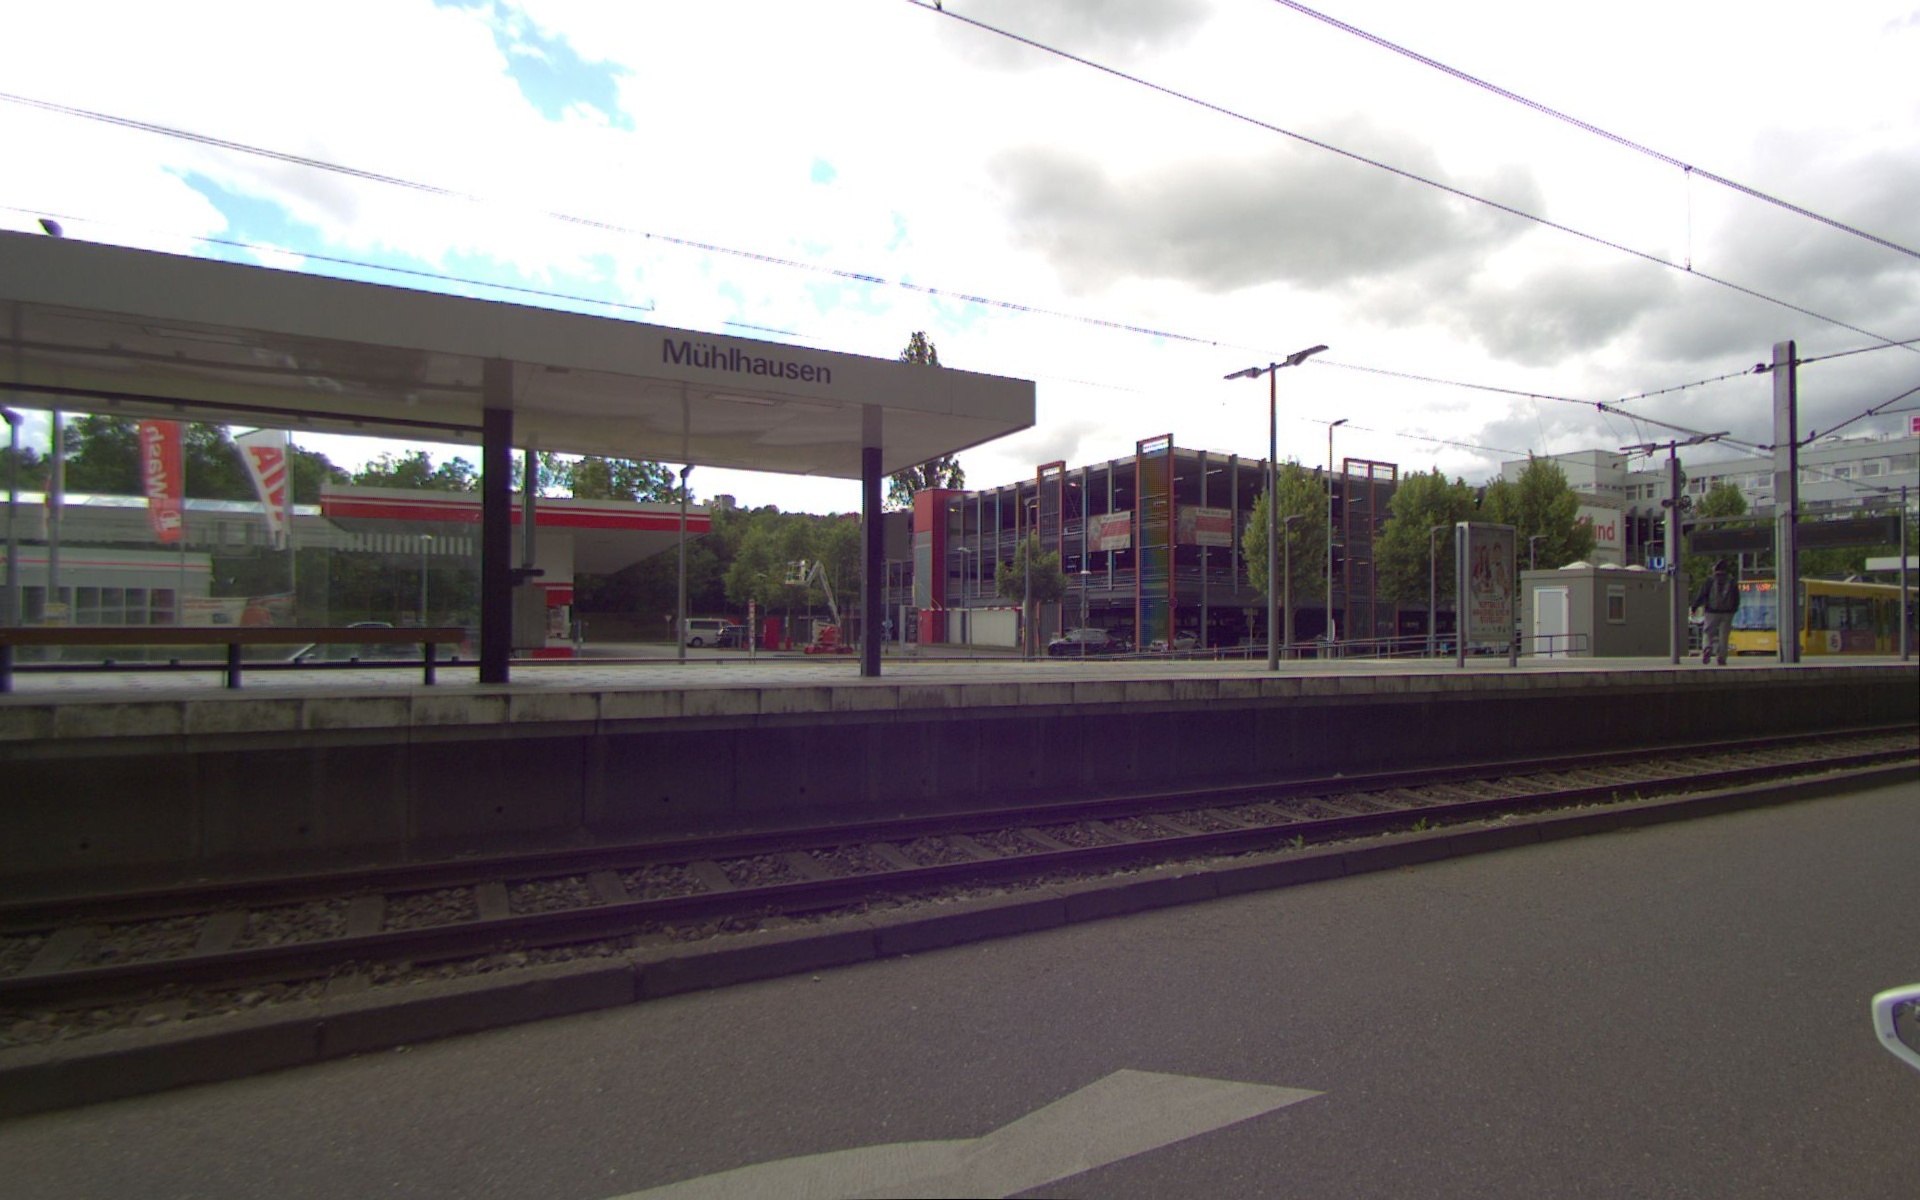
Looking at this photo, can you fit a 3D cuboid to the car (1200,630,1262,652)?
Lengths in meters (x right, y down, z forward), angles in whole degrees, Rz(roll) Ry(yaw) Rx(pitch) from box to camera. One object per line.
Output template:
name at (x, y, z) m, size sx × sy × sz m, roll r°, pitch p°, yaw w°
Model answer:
car at (18.248, 2.748, 67.661) m, size 3.954 × 1.476 × 1.814 m, roll 2°, pitch -2°, yaw -31°

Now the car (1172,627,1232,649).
car at (16.922, 2.657, 70.068) m, size 3.954 × 1.476 × 1.814 m, roll 2°, pitch -2°, yaw -31°

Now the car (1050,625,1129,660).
car at (6.710, 2.185, 52.172) m, size 3.751 × 1.728 × 1.640 m, roll -1°, pitch -2°, yaw 37°

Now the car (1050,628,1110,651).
car at (7.664, 2.530, 64.337) m, size 3.518 × 1.434 × 1.708 m, roll 1°, pitch -2°, yaw -30°

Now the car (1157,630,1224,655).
car at (12.814, 2.368, 55.793) m, size 3.500 × 1.327 × 1.528 m, roll 2°, pitch -3°, yaw -30°

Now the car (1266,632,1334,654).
car at (21.339, 2.697, 63.019) m, size 3.952 × 1.327 × 1.985 m, roll 2°, pitch -3°, yaw -30°

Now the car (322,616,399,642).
car at (-41.819, 2.026, 70.144) m, size 4.405 × 1.728 × 1.895 m, roll 2°, pitch -4°, yaw -39°

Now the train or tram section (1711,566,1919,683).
train or tram section at (35.639, 1.065, 39.285) m, size 18.404 × 3.933 × 2.745 m, roll 1°, pitch -3°, yaw -29°

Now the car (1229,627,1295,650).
car at (19.714, 2.546, 65.623) m, size 3.952 × 1.492 × 1.985 m, roll 2°, pitch -3°, yaw -30°

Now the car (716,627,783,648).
car at (-14.013, 2.534, 67.001) m, size 4.013 × 1.383 × 1.900 m, roll 2°, pitch -3°, yaw -32°

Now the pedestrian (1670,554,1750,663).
pedestrian at (12.639, 0.166, 16.925) m, size 0.926 × 1.767 × 0.745 m, roll 1°, pitch -3°, yaw -30°

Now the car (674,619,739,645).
car at (-17.796, 2.258, 70.539) m, size 4.014 × 1.775 × 1.900 m, roll 2°, pitch -3°, yaw -32°
